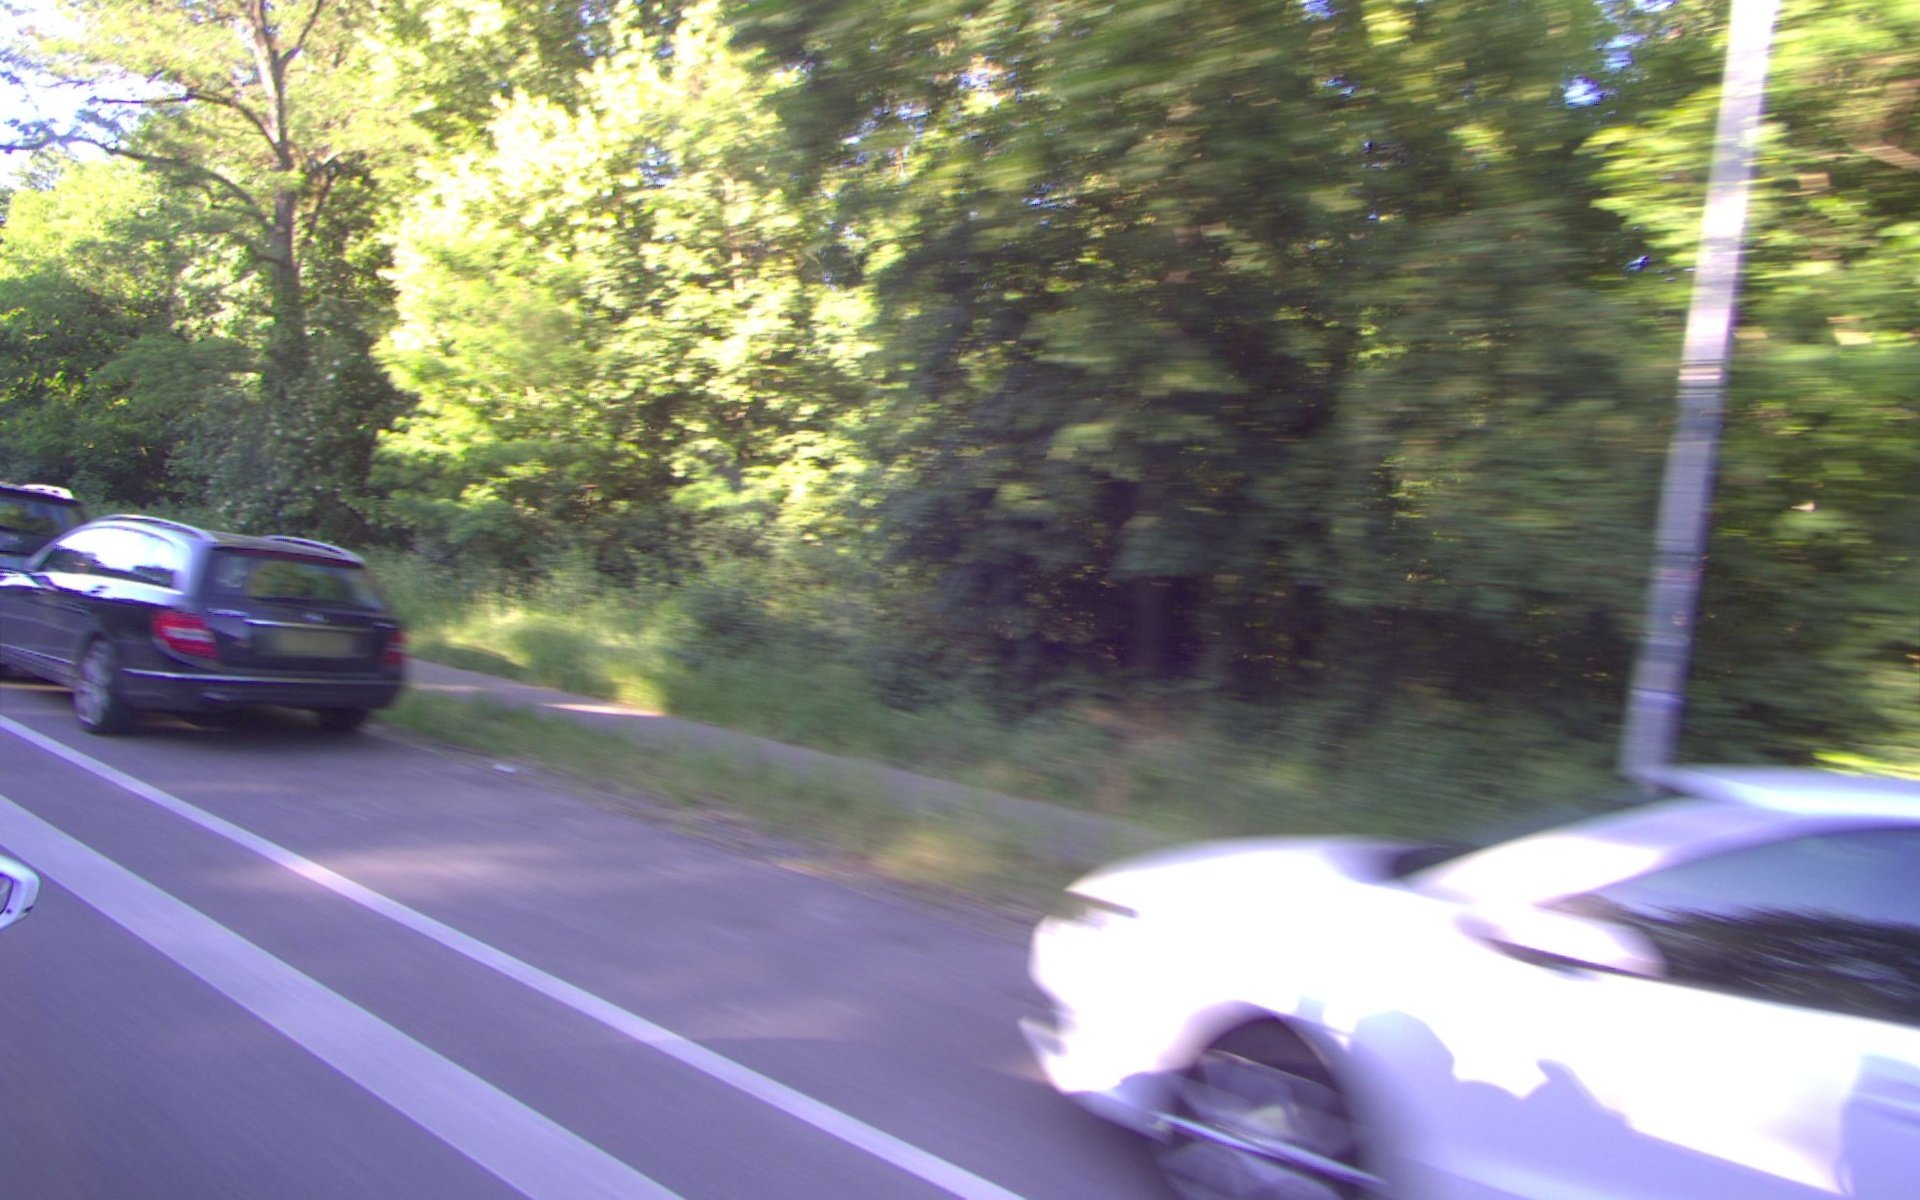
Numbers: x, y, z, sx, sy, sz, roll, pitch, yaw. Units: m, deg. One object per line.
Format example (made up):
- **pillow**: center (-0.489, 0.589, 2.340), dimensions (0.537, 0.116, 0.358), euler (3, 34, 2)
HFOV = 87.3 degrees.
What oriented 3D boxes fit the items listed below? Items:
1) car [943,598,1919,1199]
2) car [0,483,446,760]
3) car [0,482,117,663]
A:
- **car**: center (2.148, 1.067, 2.684), dimensions (3.933, 1.586, 1.715), euler (7, -2, 31)
- **car**: center (-6.303, 0.066, 8.082), dimensions (4.477, 1.586, 1.715), euler (7, -2, 33)
- **car**: center (-11.064, -0.499, 10.788), dimensions (4.477, 1.684, 1.715), euler (7, -2, 33)
